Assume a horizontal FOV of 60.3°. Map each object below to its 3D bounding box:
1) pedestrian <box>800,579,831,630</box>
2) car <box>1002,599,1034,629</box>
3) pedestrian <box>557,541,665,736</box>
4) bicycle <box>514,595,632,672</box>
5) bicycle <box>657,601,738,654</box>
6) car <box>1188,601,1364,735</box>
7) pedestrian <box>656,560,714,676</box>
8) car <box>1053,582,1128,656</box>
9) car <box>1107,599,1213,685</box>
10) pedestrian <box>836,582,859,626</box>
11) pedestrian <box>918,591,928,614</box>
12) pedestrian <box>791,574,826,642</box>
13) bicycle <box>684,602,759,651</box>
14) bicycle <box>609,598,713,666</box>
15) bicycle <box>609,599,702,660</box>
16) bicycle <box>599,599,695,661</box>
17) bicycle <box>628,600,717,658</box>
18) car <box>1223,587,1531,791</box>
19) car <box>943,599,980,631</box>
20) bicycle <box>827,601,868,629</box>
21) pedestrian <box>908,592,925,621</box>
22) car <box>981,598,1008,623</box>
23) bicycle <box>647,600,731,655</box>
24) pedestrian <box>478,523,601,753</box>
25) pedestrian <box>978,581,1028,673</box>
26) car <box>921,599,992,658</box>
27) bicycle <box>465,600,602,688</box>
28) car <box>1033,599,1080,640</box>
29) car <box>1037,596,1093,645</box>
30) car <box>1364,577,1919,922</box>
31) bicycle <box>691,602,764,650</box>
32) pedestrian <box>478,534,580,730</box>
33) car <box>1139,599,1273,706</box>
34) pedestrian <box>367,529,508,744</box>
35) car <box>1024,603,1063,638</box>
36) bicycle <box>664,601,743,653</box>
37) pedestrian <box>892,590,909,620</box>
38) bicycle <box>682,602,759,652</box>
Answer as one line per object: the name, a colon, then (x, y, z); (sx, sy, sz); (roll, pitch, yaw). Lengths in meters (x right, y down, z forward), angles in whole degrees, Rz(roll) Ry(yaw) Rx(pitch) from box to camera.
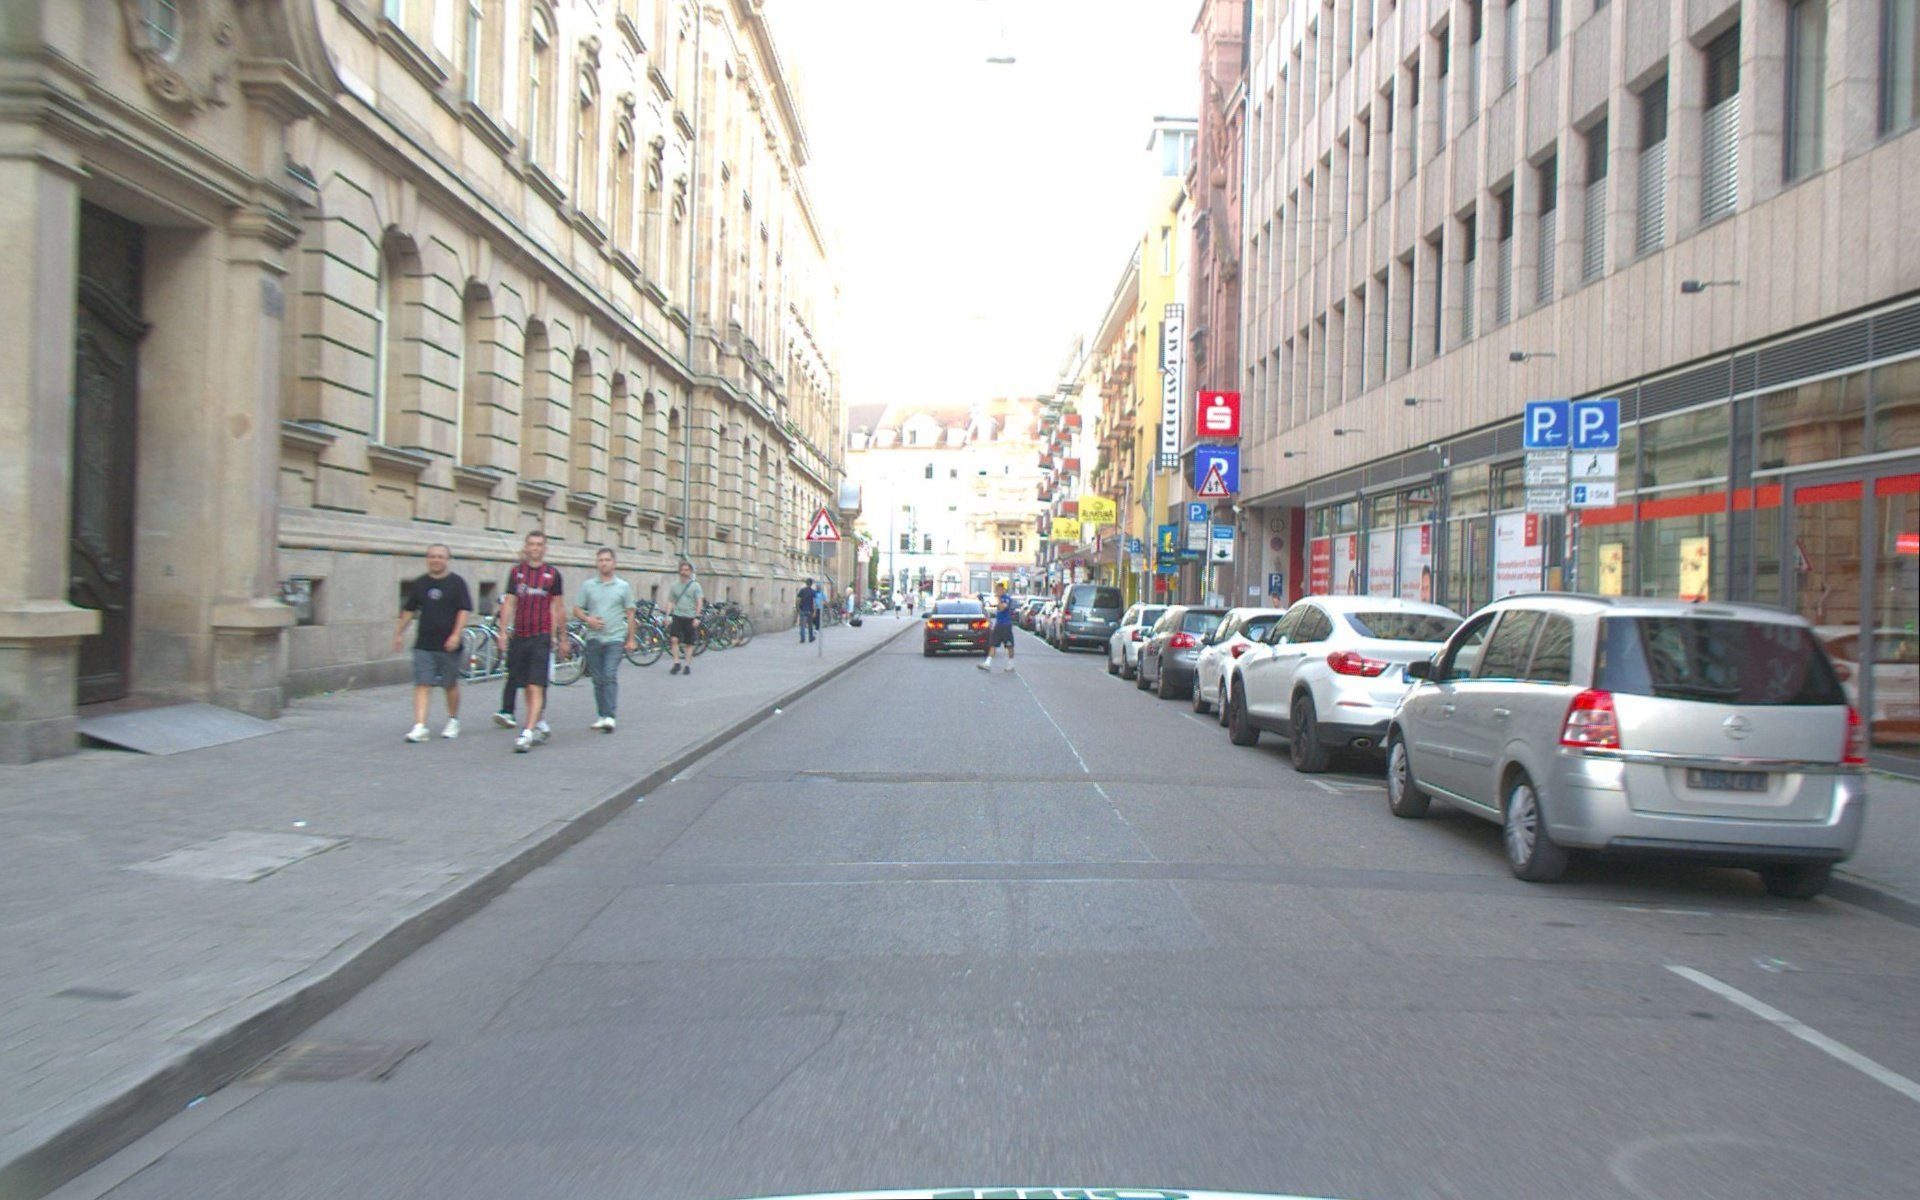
pedestrian: (-4.956, 0.145, 56.842); (0.915, 1.664, 0.654); (5, 0, -3)
car: (3.306, 0.777, 94.290); (1.611, 1.549, 3.284); (3, 0, 0)
pedestrian: (-3.363, 0.365, 15.995); (0.771, 1.782, 0.721); (5, 0, -3)
bicycle: (-5.819, 0.508, 24.873); (1.653, 1.059, 0.485); (3, 0, -18)
bicycle: (-5.769, 0.595, 36.413); (1.646, 1.059, 0.487); (3, 0, -2)
car: (4.117, 0.835, 21.978); (1.611, 1.549, 3.284); (3, 0, 0)
pedestrian: (-4.432, 0.288, 26.726); (0.704, 1.782, 0.668); (5, 0, -3)
car: (3.902, 0.544, 49.851); (1.832, 2.053, 3.765); (3, 0, 0)
car: (3.963, 0.802, 33.202); (1.611, 1.549, 3.284); (3, 0, 0)
pedestrian: (-4.746, 0.176, 69.972); (0.791, 1.782, 0.936); (5, 0, -1)
pedestrian: (-3.039, 0.208, 137.171); (0.652, 1.782, 0.680); (5, 0, -4)
pedestrian: (-4.192, 0.222, 45.697); (0.788, 1.782, 0.810); (5, 0, -3)
bicycle: (-5.572, 0.617, 38.667); (1.646, 1.059, 0.487); (3, 0, -2)
bicycle: (-5.128, 0.551, 28.419); (1.646, 1.059, 0.487); (3, 0, -2)
bicycle: (-5.850, 0.559, 31.802); (1.646, 1.059, 0.487); (3, 0, -2)
bicycle: (-5.854, 0.553, 30.969); (1.646, 1.059, 0.487); (3, 0, -2)
bicycle: (-5.737, 0.571, 33.073); (1.646, 1.059, 0.487); (3, 0, -2)
car: (3.929, 0.765, 16.314); (1.735, 1.664, 4.087); (3, 0, -3)
car: (0.057, 0.754, 84.280); (1.758, 1.536, 3.999); (2, 0, -1)
bicycle: (-4.827, 0.638, 70.797); (1.645, 1.059, 0.487); (5, 0, 0)
pedestrian: (-2.748, 0.411, 103.731); (0.915, 1.782, 0.809); (5, 0, -4)
car: (2.306, 0.690, 110.539); (1.611, 1.549, 3.284); (3, 0, 0)
bicycle: (-5.756, 0.586, 35.177); (1.646, 1.059, 0.487); (3, 0, -2)
pedestrian: (-3.574, 0.312, 14.128); (0.684, 1.843, 0.974); (5, 0, -3)
pedestrian: (0.864, 0.548, 33.430); (0.807, 1.822, 0.723); (1, 0, -16)
car: (-0.109, 0.699, 42.765); (1.734, 1.433, 4.051); (1, 0, -1)
bicycle: (-5.671, 0.577, 22.041); (1.644, 1.059, 0.487); (3, 0, 5)
car: (3.924, 0.771, 67.462); (1.611, 1.549, 3.284); (3, 0, 0)
car: (3.616, 0.699, 57.304); (1.611, 1.549, 3.284); (3, 0, 0)
car: (3.993, 0.760, 10.479); (1.734, 1.664, 4.051); (3, 0, -1)
bicycle: (-5.615, 0.626, 39.954); (1.646, 1.059, 0.487); (3, 0, -2)
pedestrian: (-4.130, 0.299, 15.890); (0.675, 1.782, 0.721); (5, 0, -3)
car: (3.969, 0.806, 27.140); (1.611, 1.549, 3.284); (3, 0, 0)
pedestrian: (-4.429, 0.304, 14.079); (0.781, 1.704, 0.974); (5, 0, -3)
car: (4.014, 0.953, 79.871); (1.611, 1.549, 3.284); (3, 0, 0)
bicycle: (-5.712, 0.600, 36.869); (1.646, 1.059, 0.487); (3, 0, -2)
pedestrian: (-3.723, 0.314, 103.184); (0.915, 1.782, 0.809); (5, 0, -4)
bicycle: (-5.529, 0.615, 38.204); (1.646, 1.059, 0.487); (3, 0, -2)
